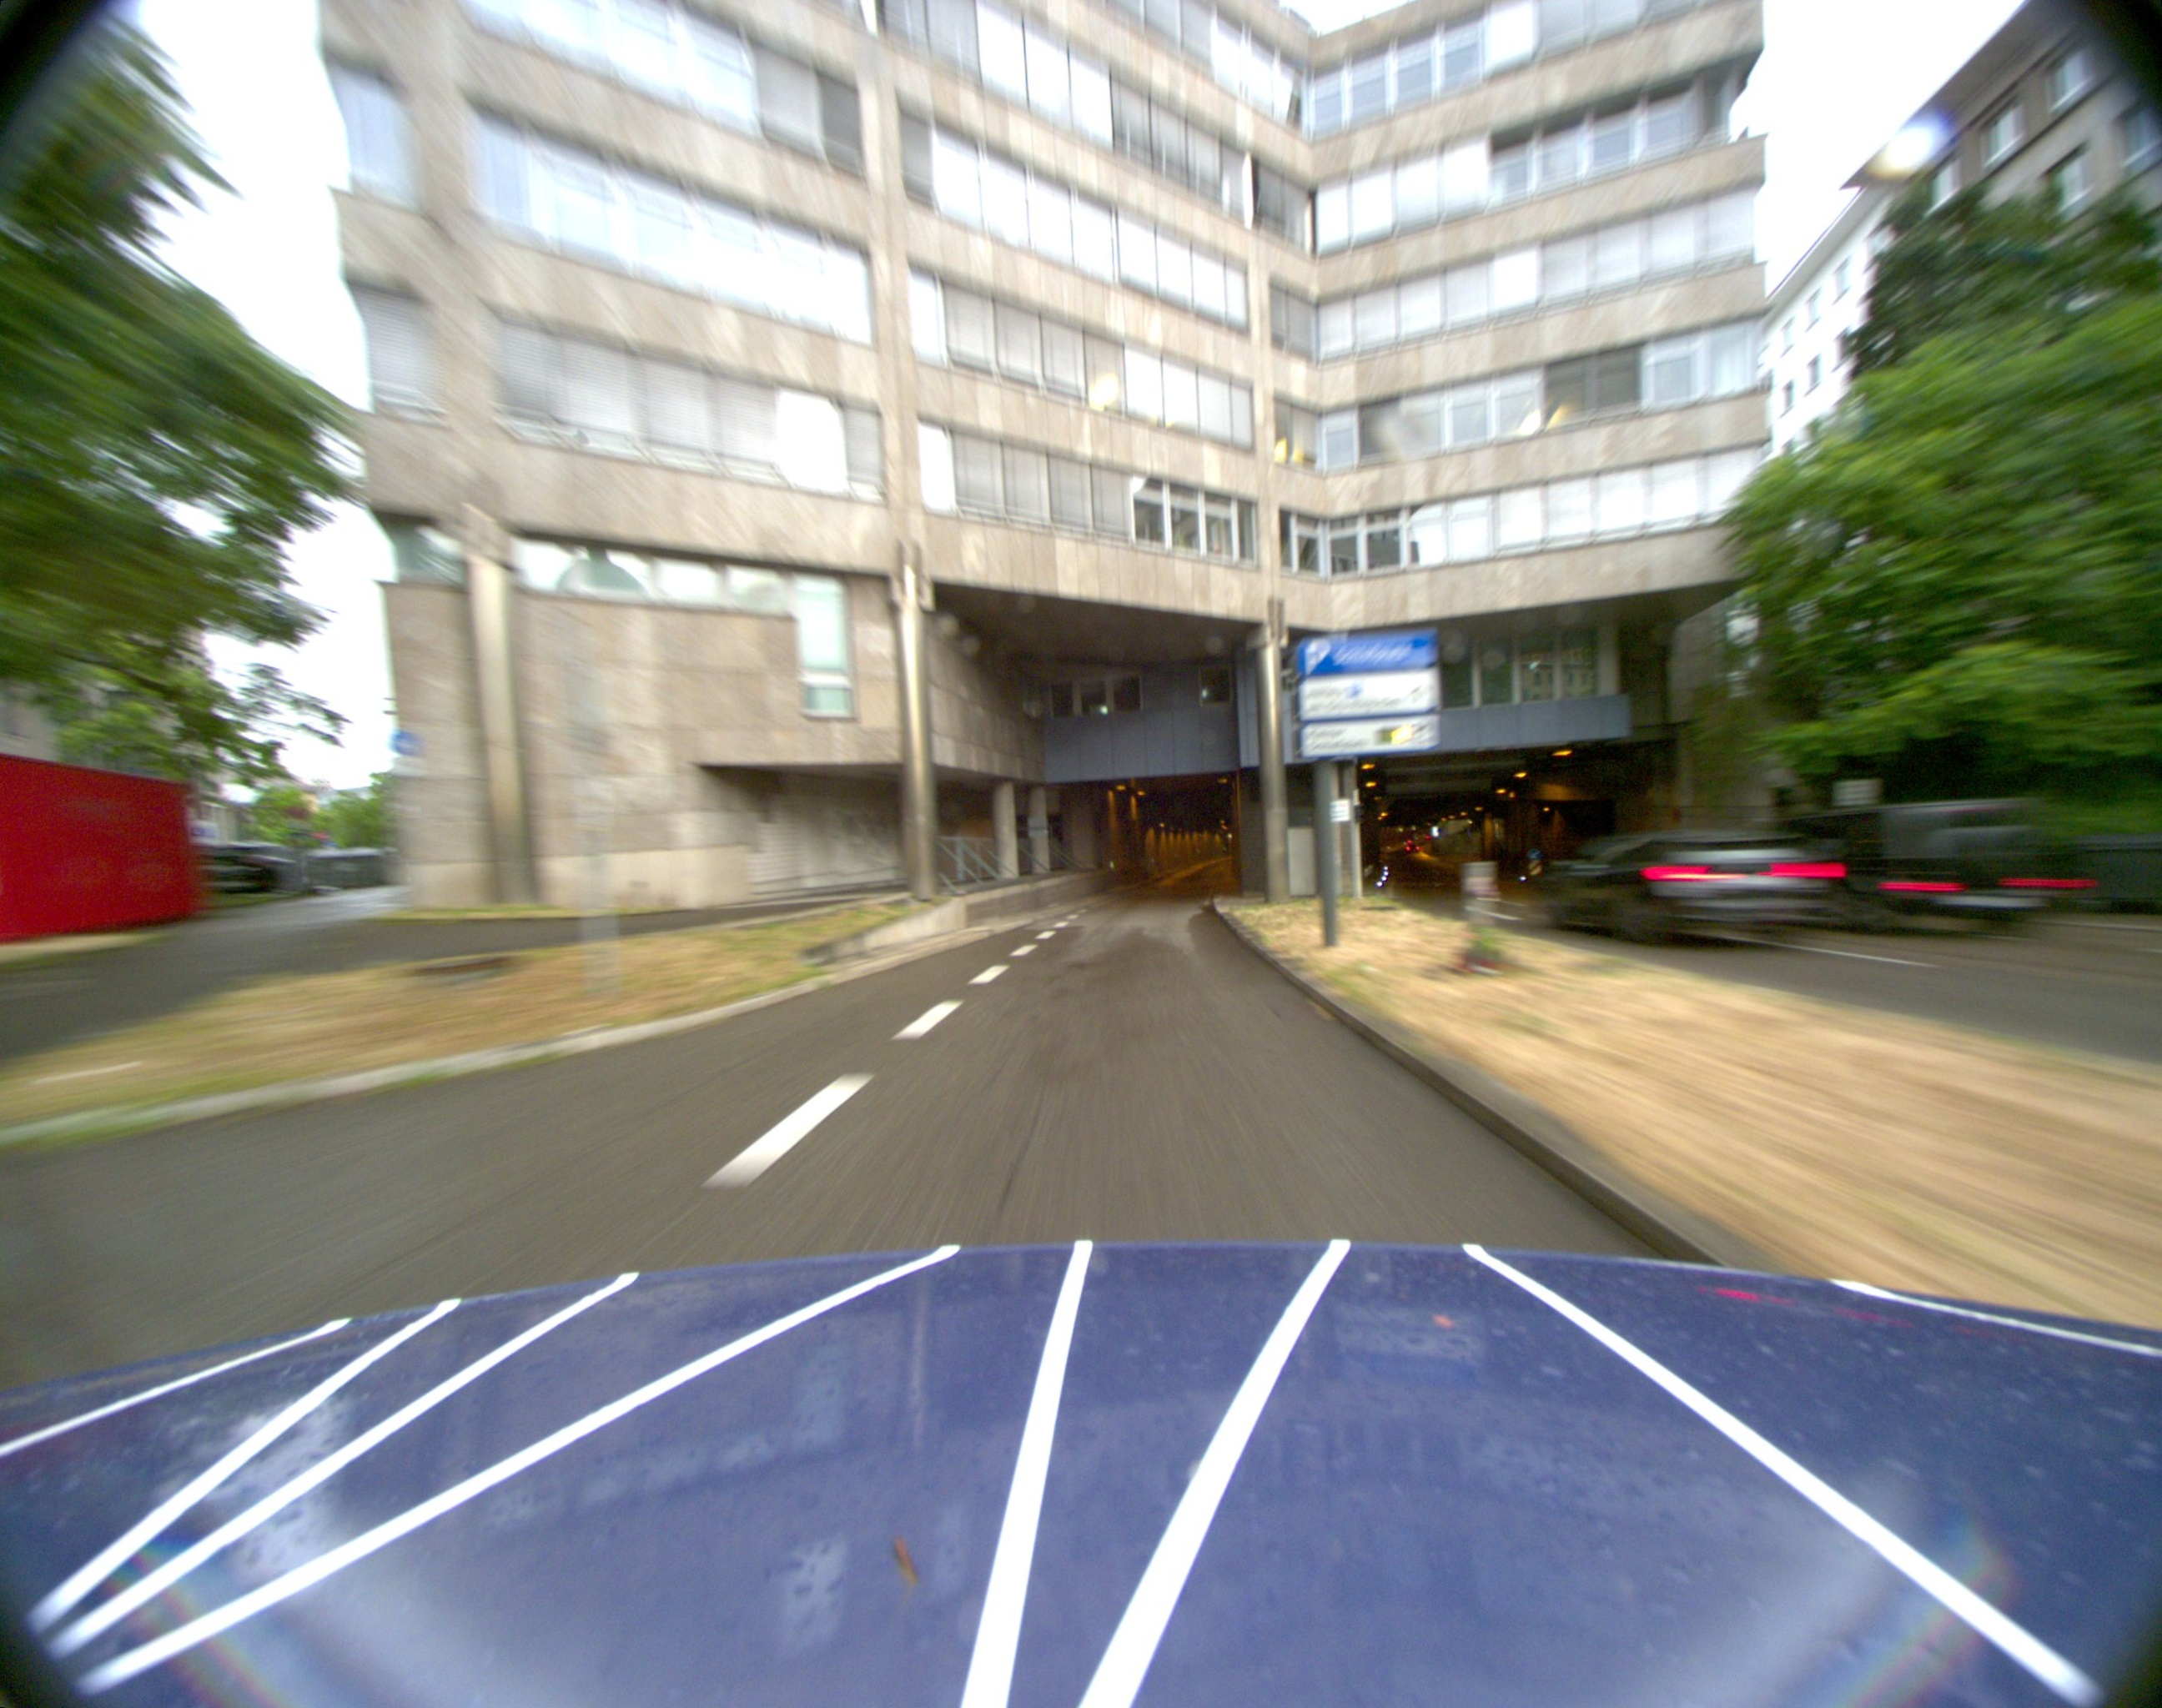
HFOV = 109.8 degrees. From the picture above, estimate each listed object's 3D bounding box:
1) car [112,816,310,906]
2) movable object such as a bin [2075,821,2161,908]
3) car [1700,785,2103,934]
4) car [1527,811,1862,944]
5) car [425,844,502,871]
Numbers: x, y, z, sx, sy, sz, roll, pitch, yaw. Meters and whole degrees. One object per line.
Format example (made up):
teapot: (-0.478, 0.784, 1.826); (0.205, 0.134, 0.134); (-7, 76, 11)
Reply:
car: (-23.452, 0.124, 20.744); (2.002, 2.069, 3.990); (-6, 4, -26)
movable object such as a bin: (18.765, 0.163, 13.533); (1.298, 1.442, 1.204); (-4, 3, -34)
car: (12.591, 0.072, 12.245); (1.840, 1.910, 4.644); (-1, 0, 7)
car: (8.703, 0.290, 11.401); (1.848, 1.579, 4.391); (-1, 0, 7)
car: (-41.695, 0.201, 51.370); (1.794, 1.642, 3.778); (0, 2, 44)
